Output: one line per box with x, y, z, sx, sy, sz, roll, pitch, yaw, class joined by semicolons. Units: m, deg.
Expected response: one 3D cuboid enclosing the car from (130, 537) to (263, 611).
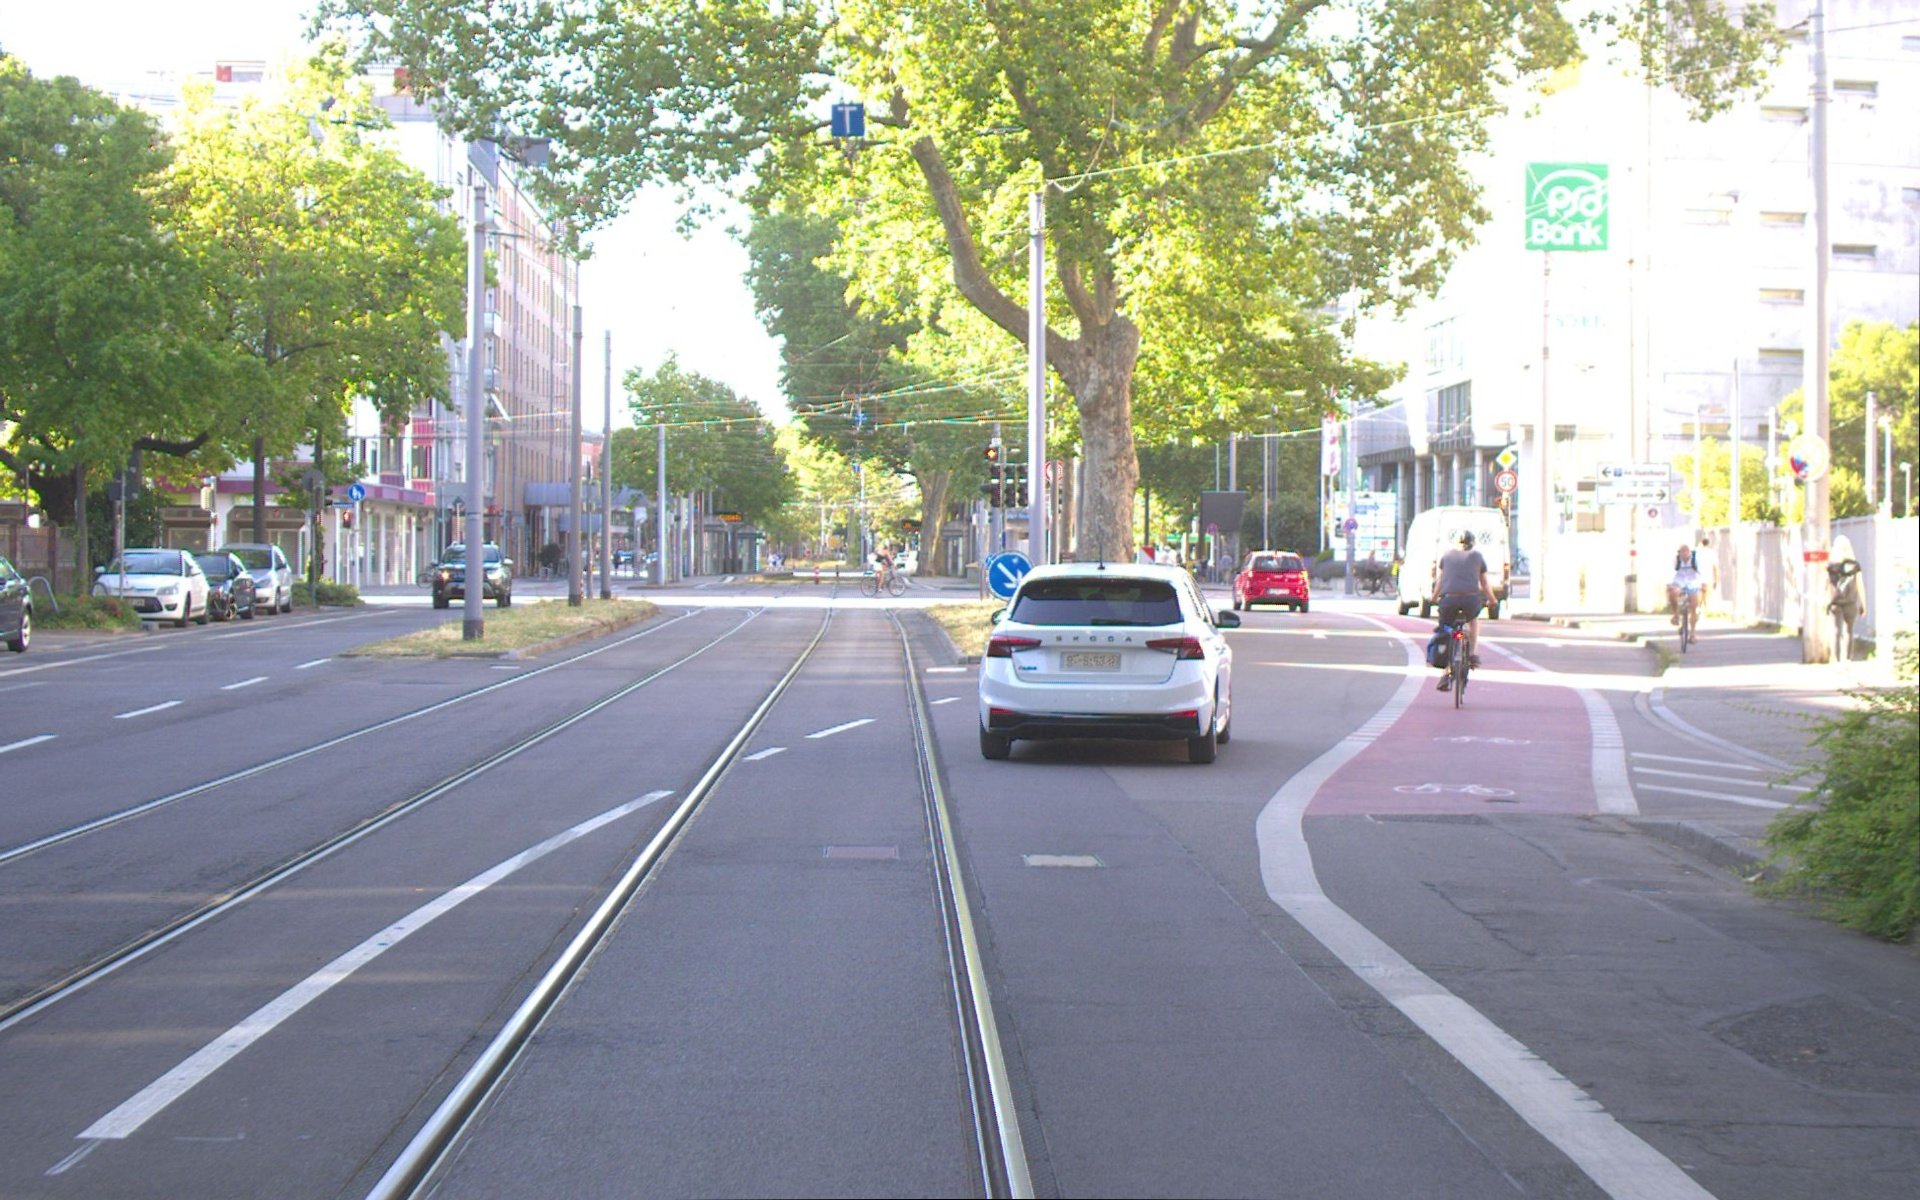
-15.699;-0.566;70.940;1.993;1.471;4.651;0;1;-4;car

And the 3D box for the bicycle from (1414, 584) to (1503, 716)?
5.008;0.478;34.460;0.744;1.220;2.155;2;1;11;bicycle

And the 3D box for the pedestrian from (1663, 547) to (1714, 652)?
11.549;-0.016;54.539;0.670;1.613;1.102;-2;1;8;pedestrian

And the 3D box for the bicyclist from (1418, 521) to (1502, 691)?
5.026;0.051;34.526;0.743;1.663;0.744;2;1;11;bicyclist

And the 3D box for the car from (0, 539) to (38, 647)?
-14.353;-0.100;47.835;1.993;1.508;4.726;0;1;-3;car

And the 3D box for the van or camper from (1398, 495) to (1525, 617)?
12.053;-1.065;83.064;2.269;2.724;6.346;3;1;2;van or camper

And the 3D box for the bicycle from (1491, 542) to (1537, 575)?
24.610;-1.838;152.681;1.934;1.438;0.575;0;1;-2;bicycle

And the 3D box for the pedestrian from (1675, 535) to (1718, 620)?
15.081;-0.462;70.424;0.786;1.742;0.772;0;1;6;pedestrian

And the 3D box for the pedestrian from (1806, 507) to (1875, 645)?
10.849;-0.299;42.336;0.696;1.678;0.929;1;1;22;pedestrian

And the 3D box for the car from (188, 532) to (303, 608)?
-16.132;-0.700;77.818;1.993;1.683;4.179;0;1;-4;car

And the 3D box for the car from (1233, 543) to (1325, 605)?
7.882;-0.666;85.246;1.839;1.484;3.717;0;1;-1;car

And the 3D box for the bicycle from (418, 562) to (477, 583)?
-19.461;-1.050;130.555;2.169;0.784;0.641;0;1;-4;bicycle

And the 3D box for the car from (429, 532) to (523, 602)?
-12.053;-0.840;85.784;1.993;1.683;4.311;0;1;-4;car

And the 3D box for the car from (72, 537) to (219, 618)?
-15.363;-0.447;65.027;1.993;1.465;4.406;0;1;-4;car

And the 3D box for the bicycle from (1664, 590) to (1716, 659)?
11.557;0.384;54.459;0.675;1.028;1.900;-2;1;9;bicycle

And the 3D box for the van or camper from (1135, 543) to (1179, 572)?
12.063;-2.606;210.783;2.145;1.744;4.432;-1;1;-4;van or camper

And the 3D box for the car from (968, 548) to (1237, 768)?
1.153;0.379;26.043;1.802;1.496;3.981;1;1;5;car
